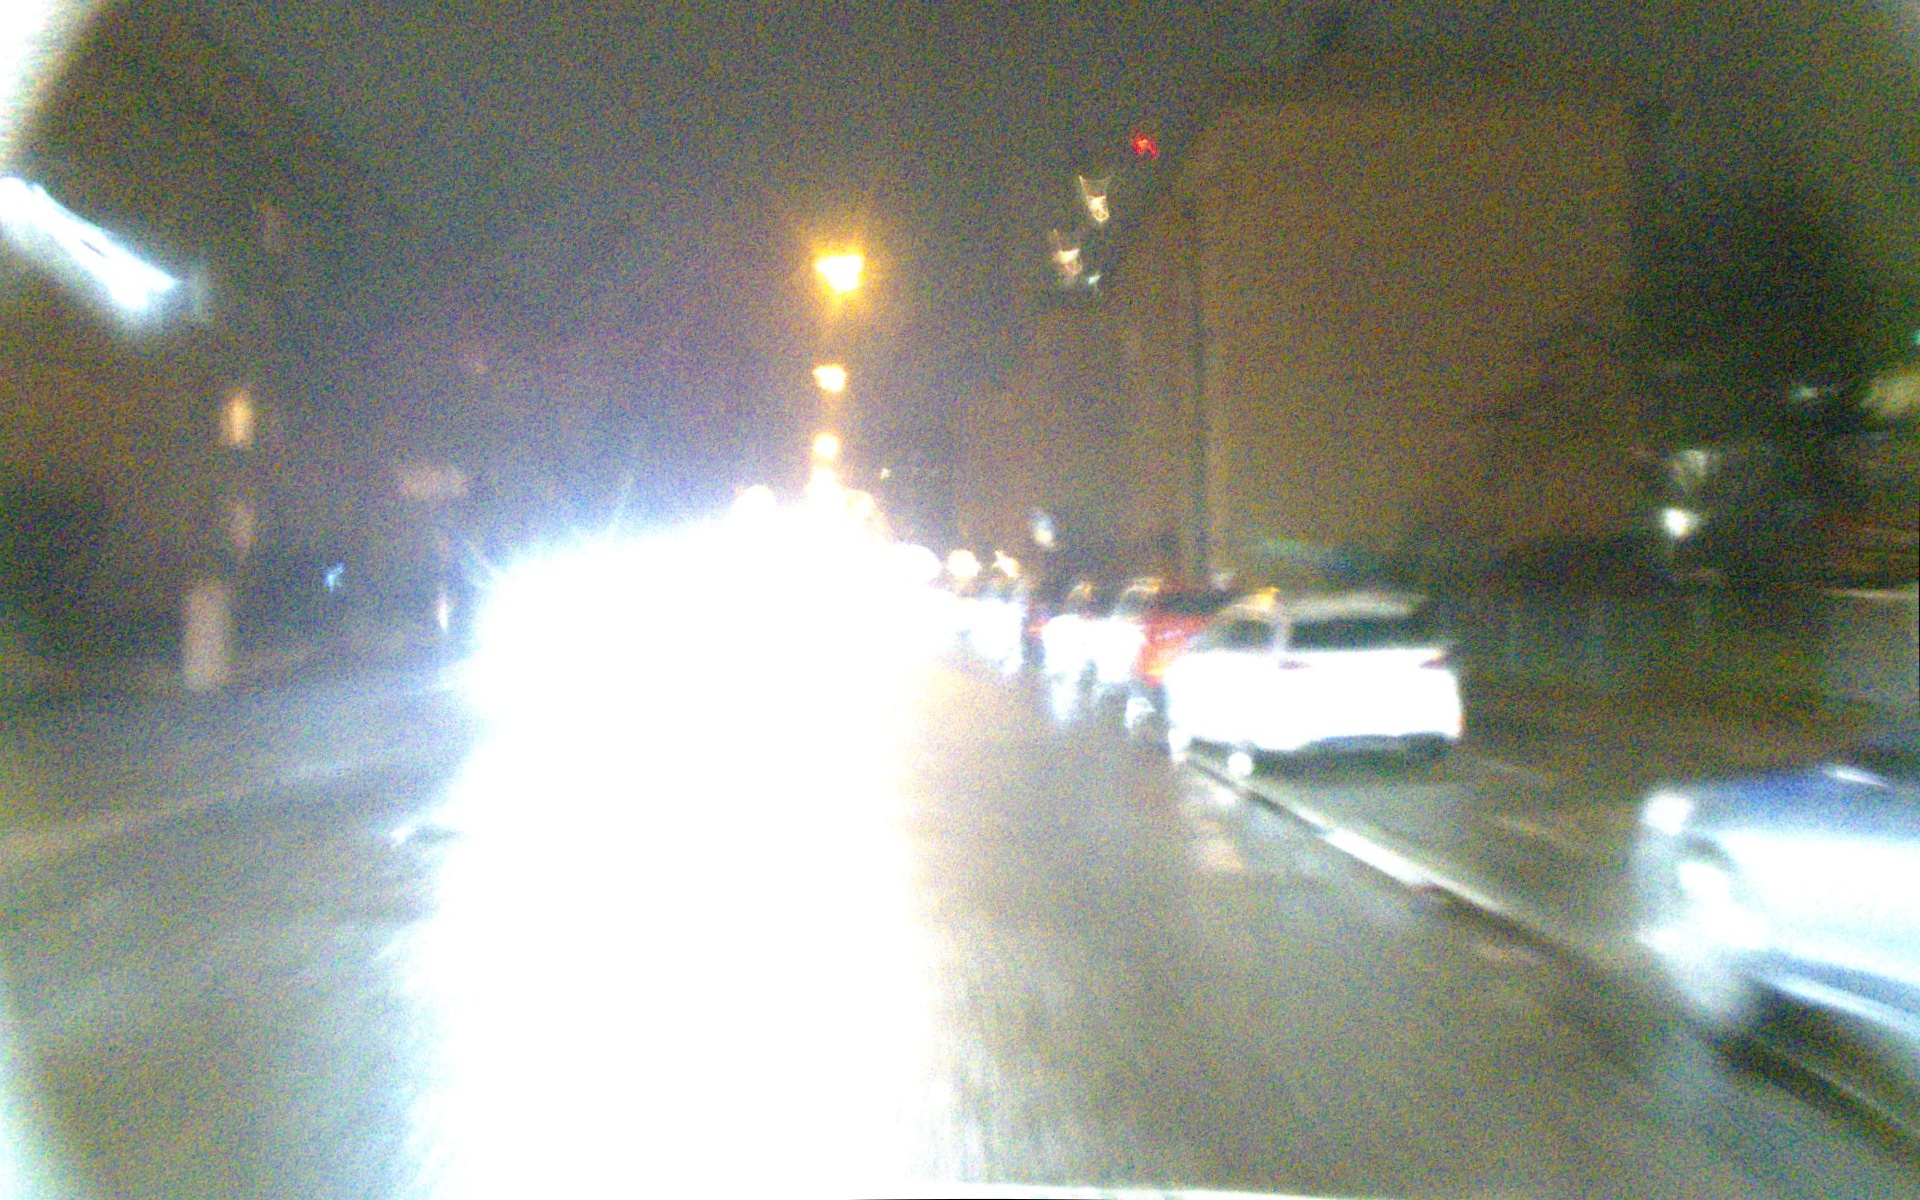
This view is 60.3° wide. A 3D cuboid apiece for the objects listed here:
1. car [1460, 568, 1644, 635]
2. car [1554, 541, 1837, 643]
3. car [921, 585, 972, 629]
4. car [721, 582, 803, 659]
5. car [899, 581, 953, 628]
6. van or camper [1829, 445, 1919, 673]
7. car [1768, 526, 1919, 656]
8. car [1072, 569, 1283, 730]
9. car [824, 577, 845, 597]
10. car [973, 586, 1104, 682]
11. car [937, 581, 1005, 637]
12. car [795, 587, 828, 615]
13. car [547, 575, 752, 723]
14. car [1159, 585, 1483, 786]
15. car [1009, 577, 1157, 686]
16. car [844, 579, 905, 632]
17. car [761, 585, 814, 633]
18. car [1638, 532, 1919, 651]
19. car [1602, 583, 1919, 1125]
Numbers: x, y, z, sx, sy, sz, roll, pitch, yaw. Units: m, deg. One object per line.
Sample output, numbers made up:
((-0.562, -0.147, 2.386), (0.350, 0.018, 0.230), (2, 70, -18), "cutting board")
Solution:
((13.410, 0.021, 37.575), (3.612, 1.424, 1.620), (-1, 1, -3), "car")
((11.945, -0.140, 26.993), (3.909, 1.547, 1.684), (-1, 1, -5), "car")
((-0.496, 0.213, 58.082), (1.466, 1.412, 3.744), (-2, 1, -5), "car")
((-4.131, 0.404, 34.822), (1.517, 1.525, 2.791), (1, 0, -3), "car")
((-1.335, 0.144, 64.307), (1.785, 1.702, 3.996), (-2, 1, -5), "car")
((13.303, -0.517, 19.518), (4.959, 2.571, 2.171), (-1, 1, -1), "van or camper")
((13.271, -0.153, 22.077), (4.135, 1.645, 1.804), (-1, 1, -5), "car")
((2.622, 0.526, 20.880), (1.680, 1.737, 4.182), (-3, 1, -6), "car")
((-11.634, -1.180, 153.240), (1.777, 1.739, 3.800), (-2, 1, -5), "car")
((1.450, 0.601, 32.213), (1.845, 1.599, 4.523), (-3, 1, -6), "car")
((0.281, 0.222, 48.259), (1.596, 1.492, 4.507), (-2, 1, -4), "car")
((-8.290, 0.037, 91.935), (1.785, 1.489, 4.860), (0, 1, -6), "car")
((-3.497, 0.492, 19.402), (1.760, 1.486, 4.575), (1, 0, -4), "car")
((3.090, 0.660, 15.118), (1.679, 1.515, 4.433), (-1, 0, -4), "car")
((1.908, 0.444, 26.909), (1.720, 1.555, 4.149), (-3, 1, -5), "car")
((-2.882, 0.177, 55.407), (1.954, 1.713, 3.997), (0, 0, -3), "car")
((-5.799, 0.313, 55.555), (1.644, 1.459, 4.505), (-2, 0, -6), "car")
((12.512, -0.143, 24.659), (4.135, 1.645, 1.684), (-1, 1, -5), "car")
((3.601, 0.715, 4.172), (1.755, 1.474, 4.786), (-3, 1, -4), "car")
